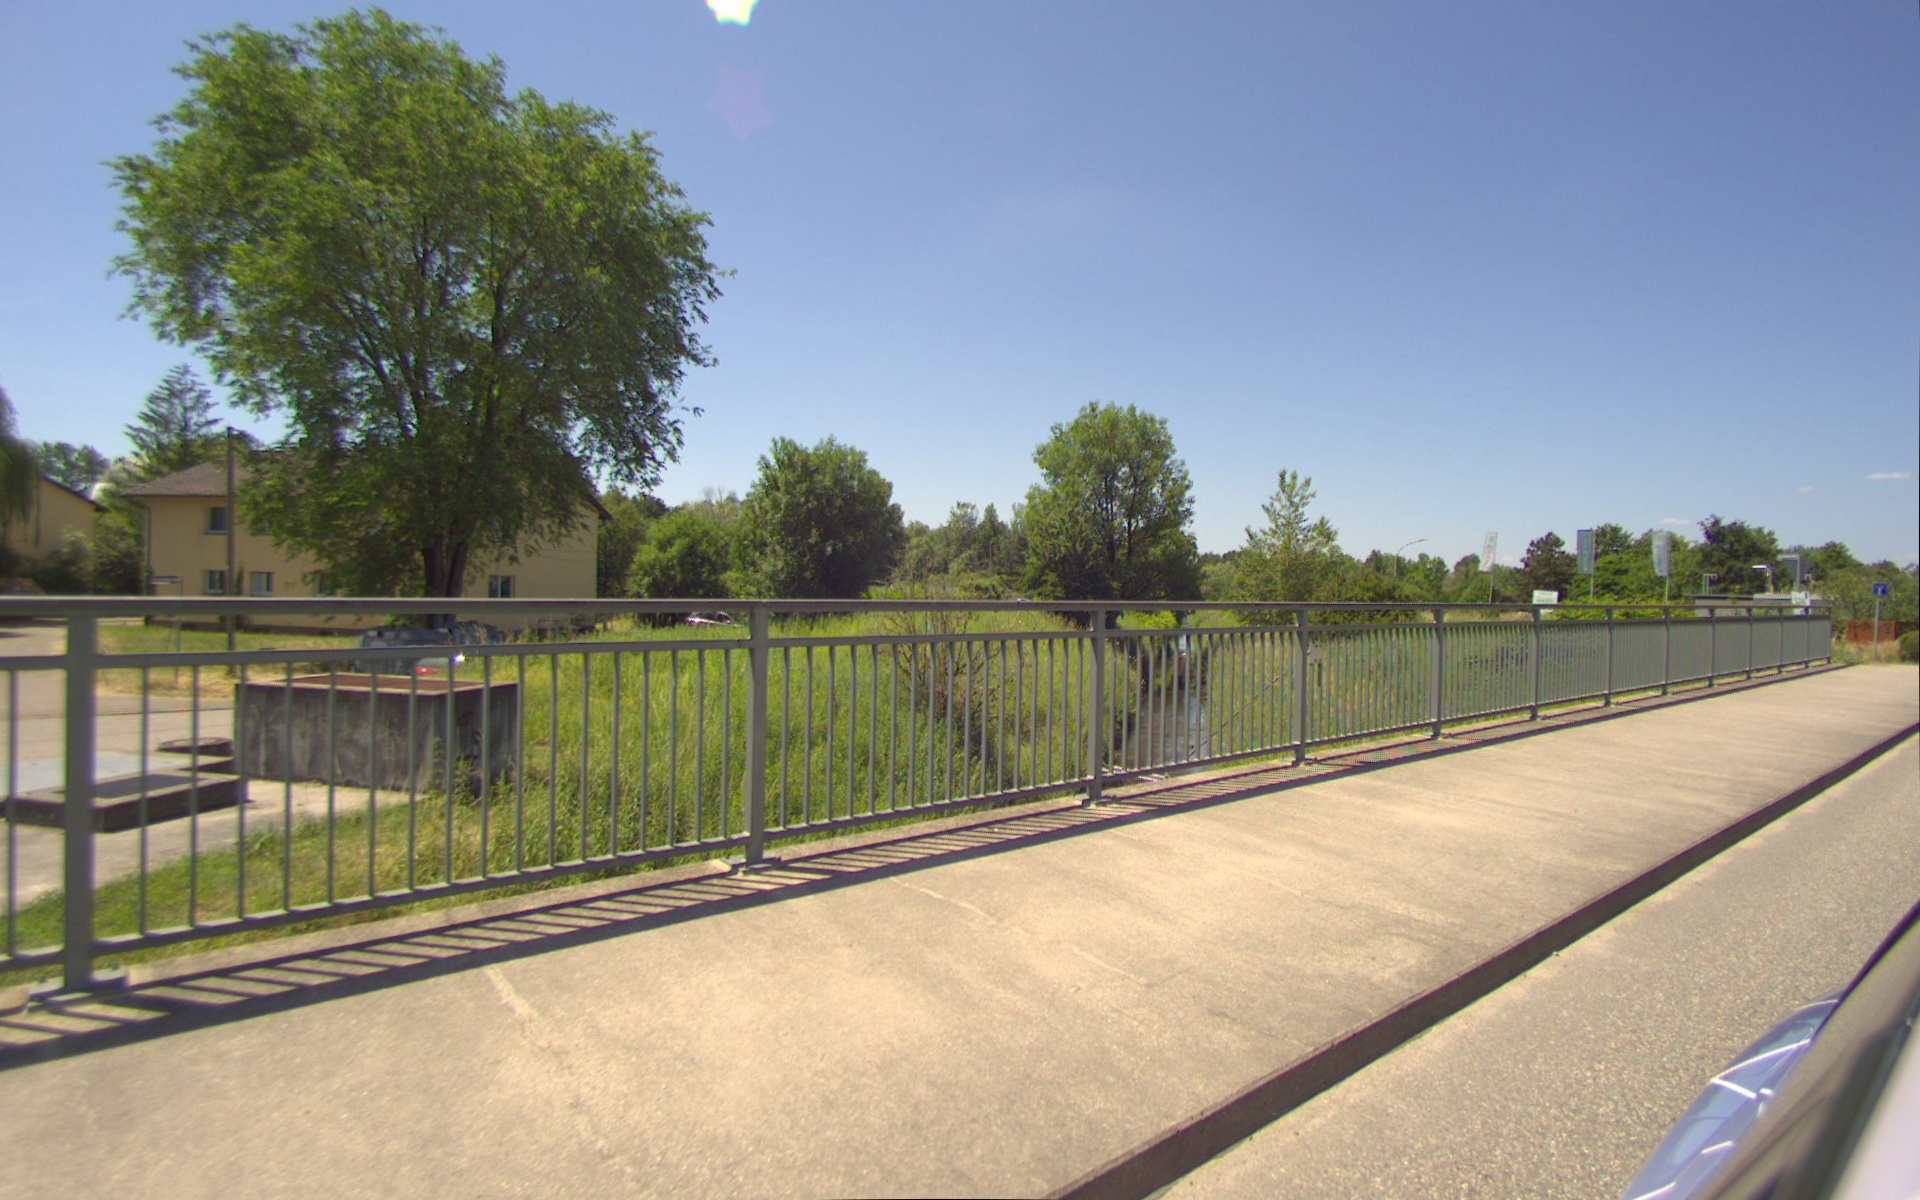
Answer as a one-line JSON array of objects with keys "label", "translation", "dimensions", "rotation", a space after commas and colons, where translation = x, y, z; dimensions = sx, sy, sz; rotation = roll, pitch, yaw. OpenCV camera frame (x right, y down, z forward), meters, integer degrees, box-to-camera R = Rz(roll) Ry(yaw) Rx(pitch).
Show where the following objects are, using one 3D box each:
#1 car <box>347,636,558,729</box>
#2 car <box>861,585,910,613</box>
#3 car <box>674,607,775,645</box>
[{"label": "car", "translation": [-11.494, 1.795, 23.352], "dimensions": [1.969, 1.644, 4.496], "rotation": [2, 1, 12]}, {"label": "car", "translation": [-4.734, -0.066, 64.982], "dimensions": [1.969, 1.644, 4.496], "rotation": [2, 1, 12]}, {"label": "car", "translation": [-11.670, 1.263, 50.199], "dimensions": [4.443, 1.644, 1.993], "rotation": [2, 1, 12]}]
